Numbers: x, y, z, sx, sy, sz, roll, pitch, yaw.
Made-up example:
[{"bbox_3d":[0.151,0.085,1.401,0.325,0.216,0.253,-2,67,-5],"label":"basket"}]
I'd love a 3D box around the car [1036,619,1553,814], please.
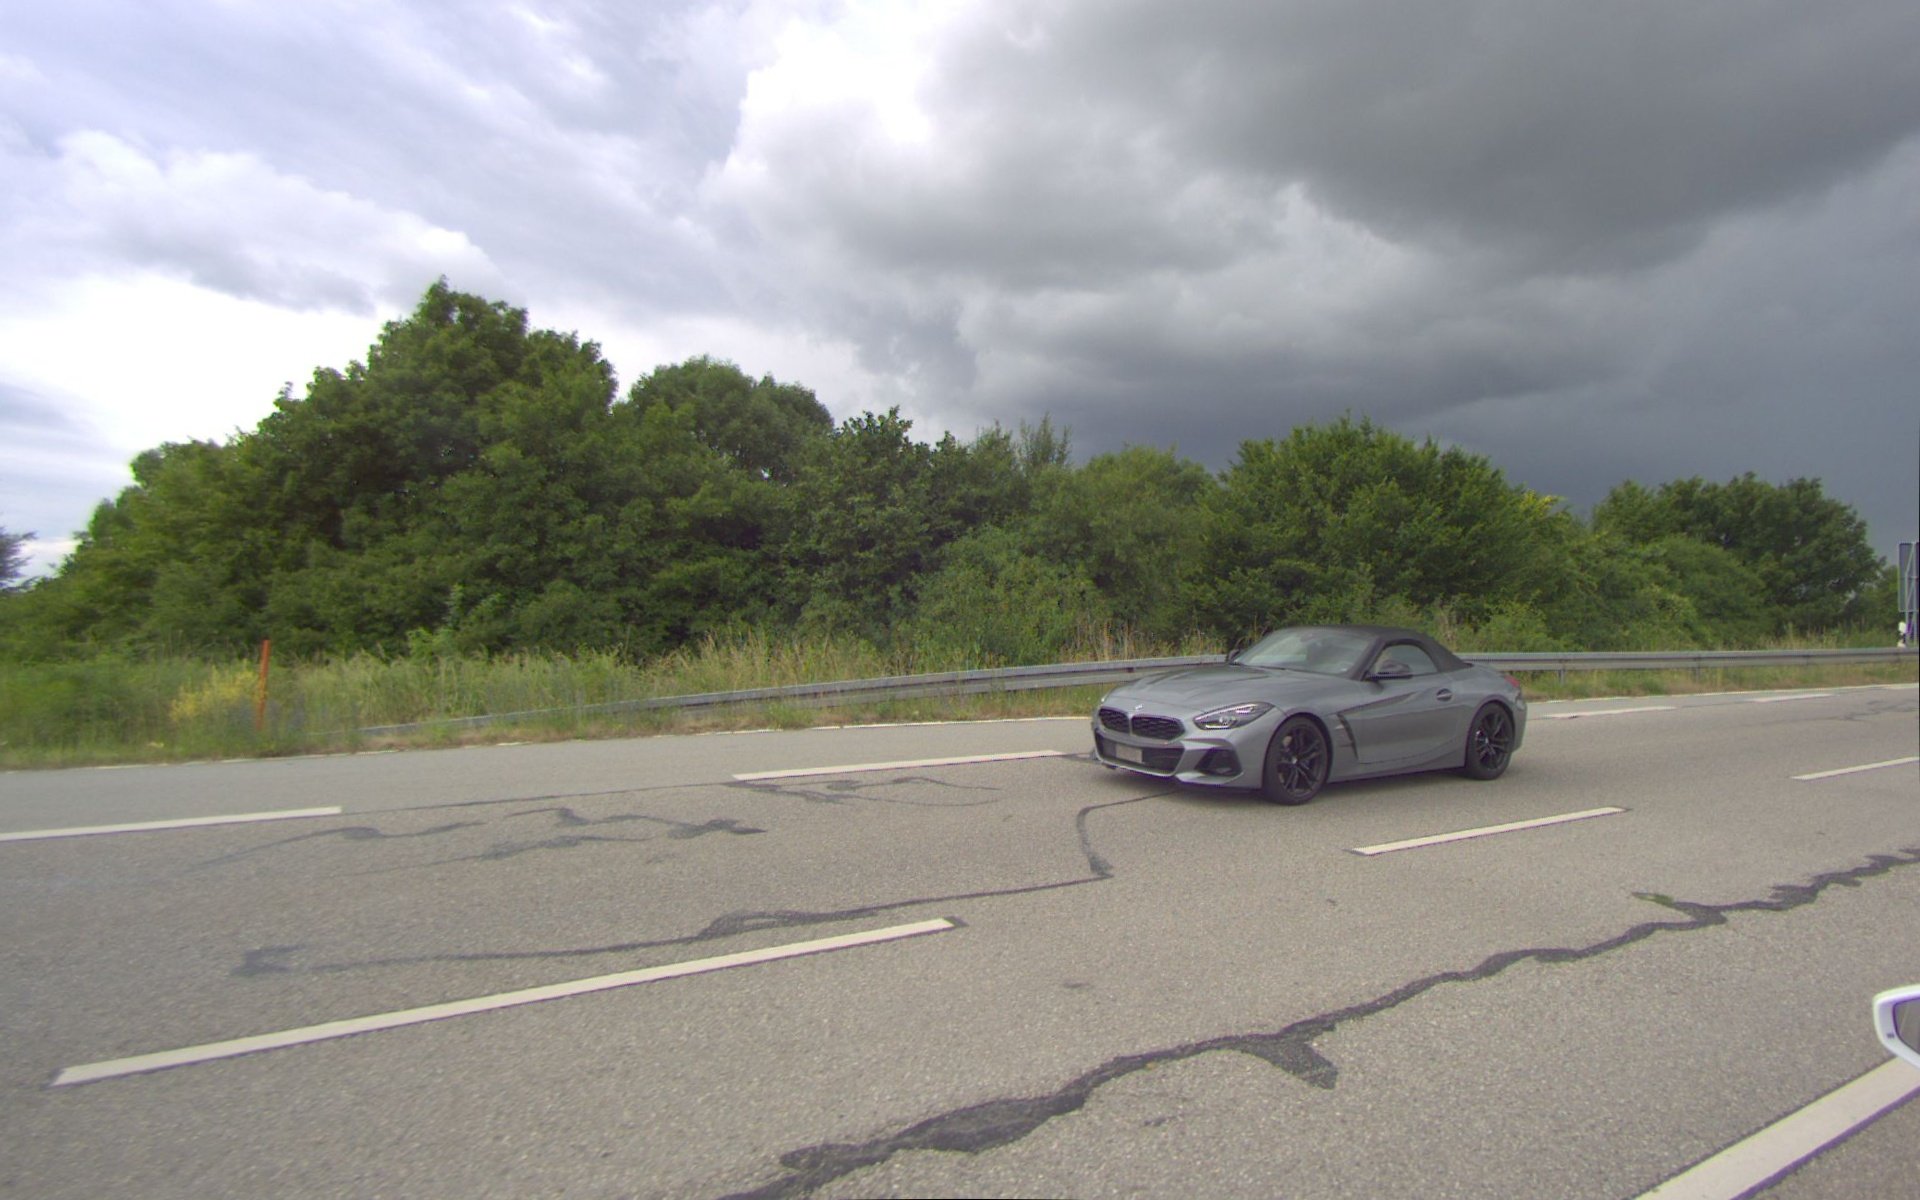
[{"bbox_3d":[3.002,0.854,8.922,4.187,1.302,2.154,1,0,-30],"label":"car"}]
